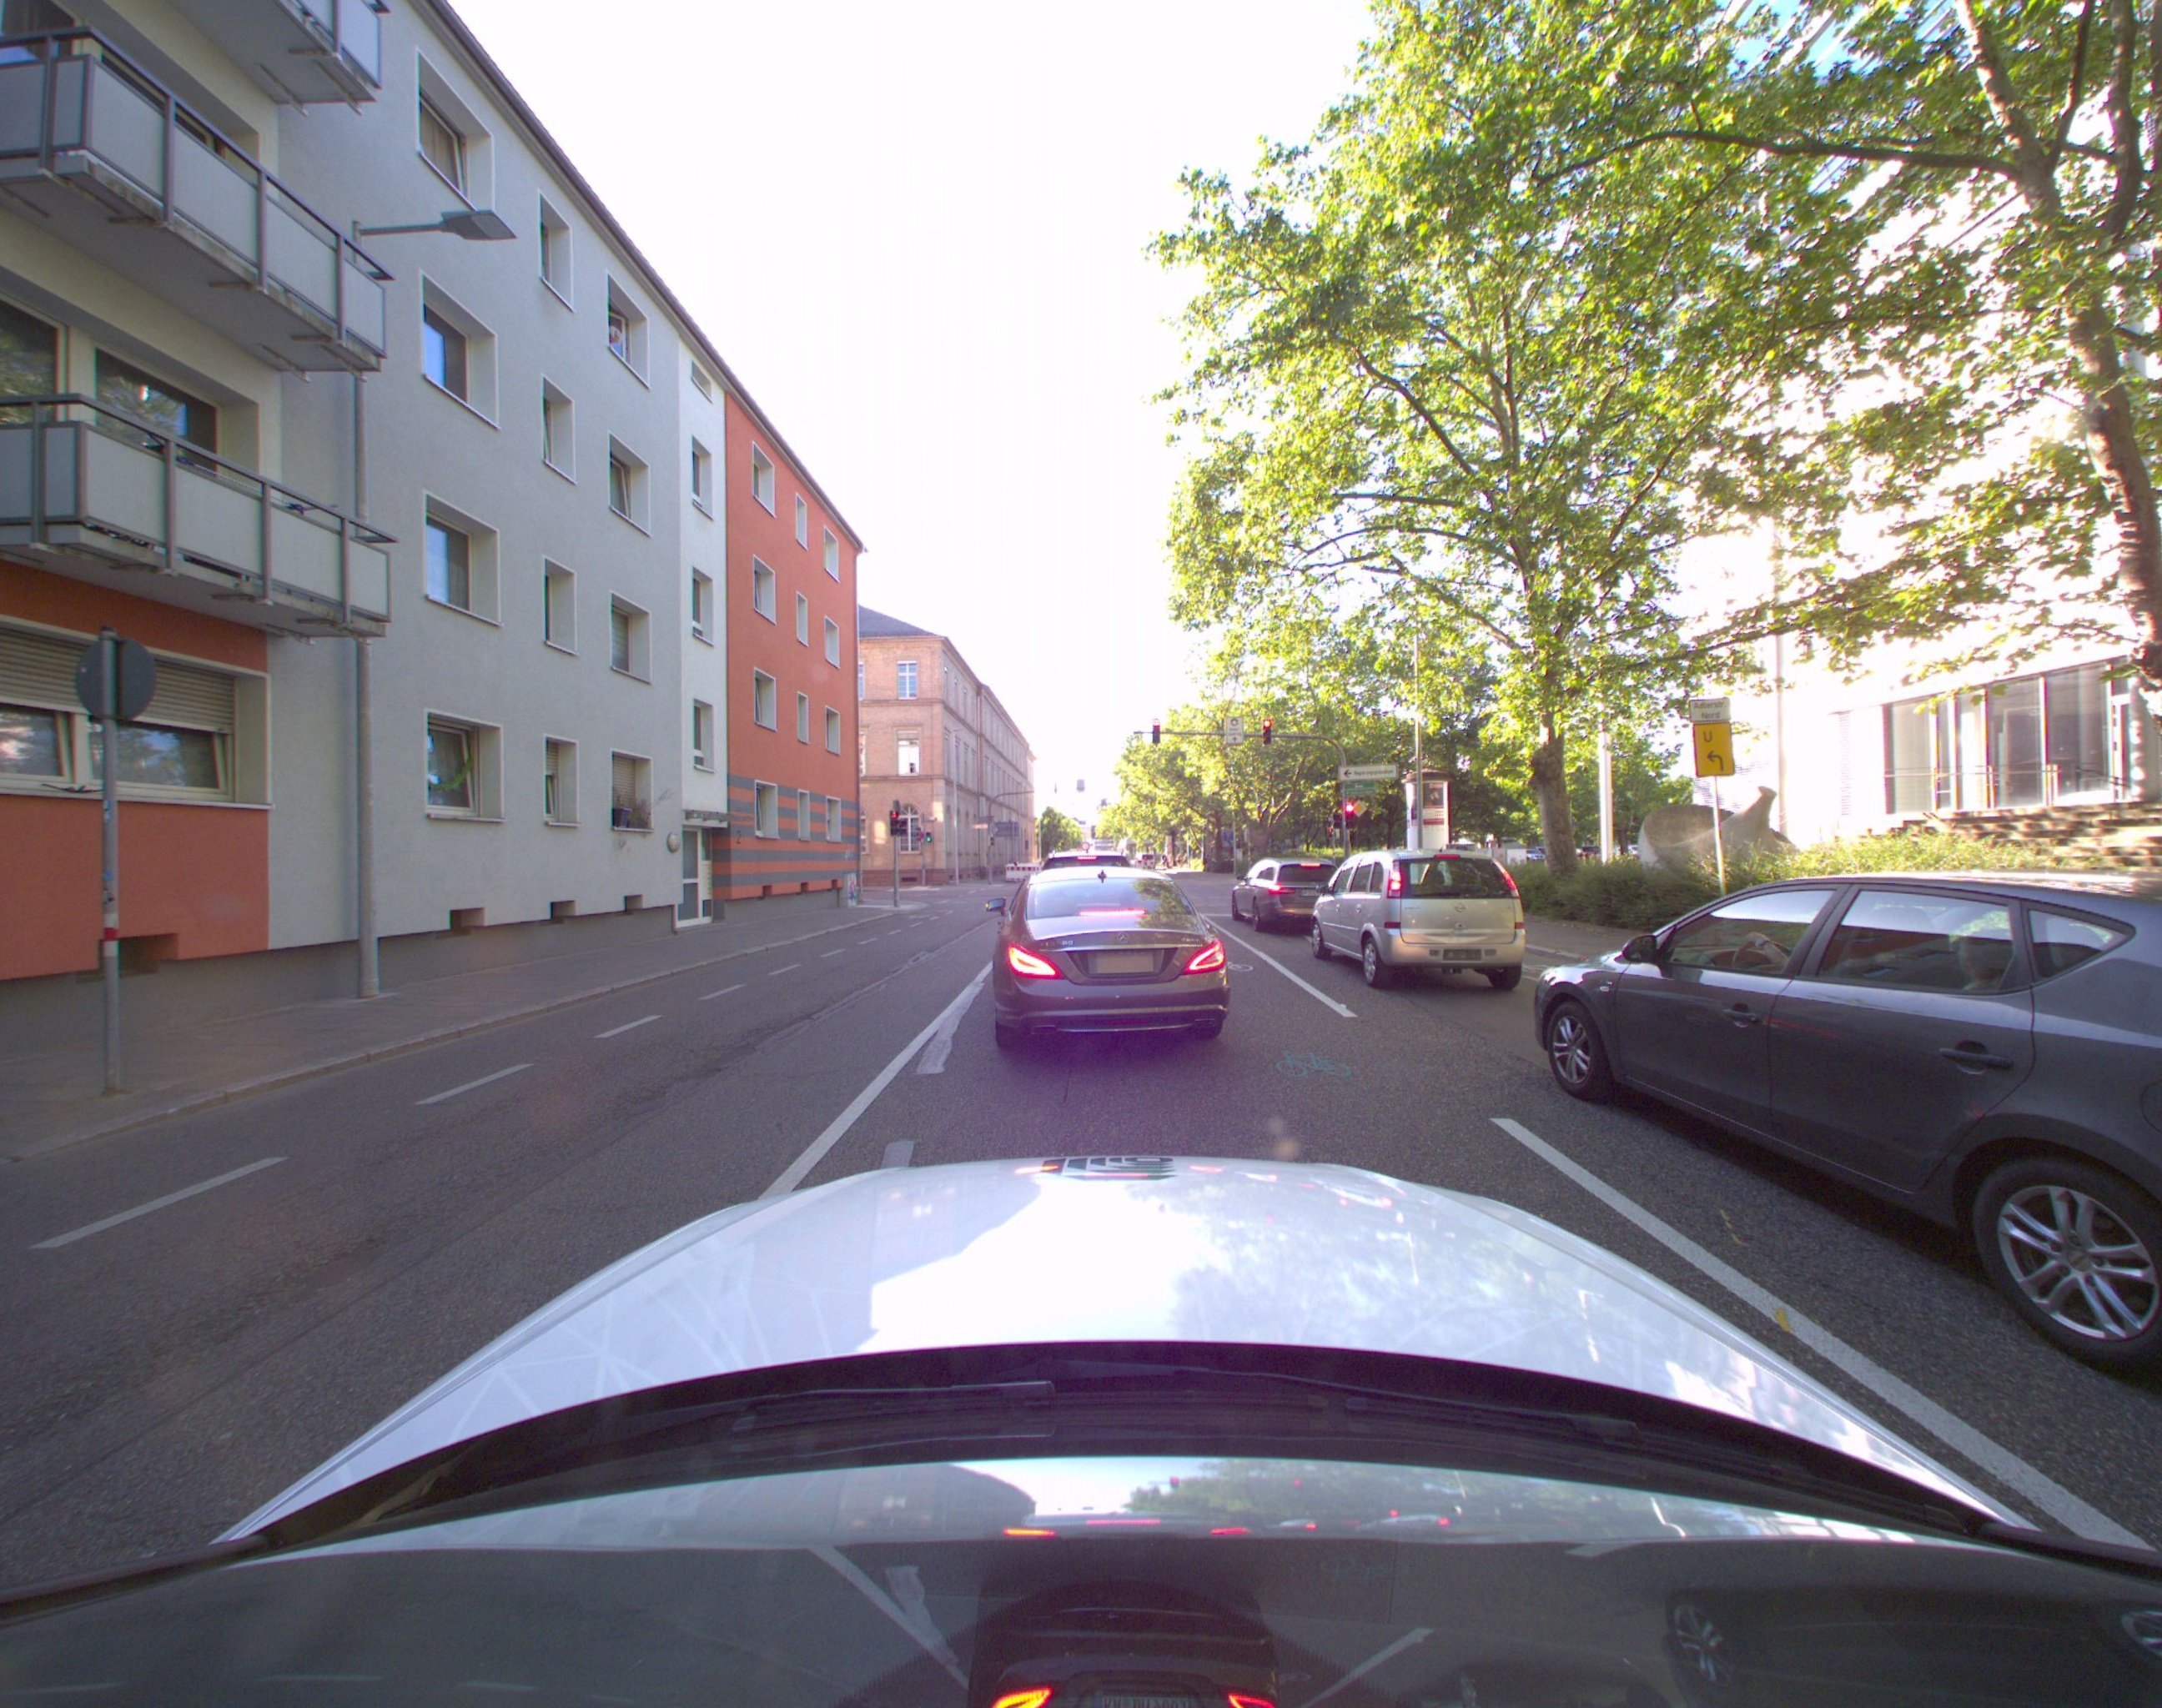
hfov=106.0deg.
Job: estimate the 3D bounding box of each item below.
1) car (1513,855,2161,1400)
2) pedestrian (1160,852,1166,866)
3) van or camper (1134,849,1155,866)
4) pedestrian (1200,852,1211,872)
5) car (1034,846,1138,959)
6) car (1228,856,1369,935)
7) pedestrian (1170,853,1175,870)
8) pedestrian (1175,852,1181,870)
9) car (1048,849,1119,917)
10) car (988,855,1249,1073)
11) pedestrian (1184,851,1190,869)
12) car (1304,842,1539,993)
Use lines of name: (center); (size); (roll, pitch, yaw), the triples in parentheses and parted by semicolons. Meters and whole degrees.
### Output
car: (3.815, 0.756, 3.757); (1.638, 1.482, 3.978); (1, 0, 2)
pedestrian: (10.301, 0.625, 102.053); (0.699, 1.837, 0.736); (-1, 0, -1)
van or camper: (7.667, 0.444, 98.453); (1.989, 1.941, 4.590); (-1, 0, -3)
pedestrian: (10.257, 0.648, 67.179); (0.827, 1.606, 0.652); (-1, 0, 1)
car: (0.069, 0.709, 13.863); (1.513, 1.647, 3.879); (-1, 0, 0)
car: (4.469, 0.774, 17.471); (1.905, 1.464, 4.671); (0, 0, 2)
pedestrian: (10.907, 0.889, 97.417); (0.537, 2.014, 0.474); (0, -1, 1)
pedestrian: (10.152, 0.711, 85.381); (0.601, 1.821, 0.652); (-1, 0, 1)
car: (0.128, 0.767, 23.384); (1.813, 1.762, 4.002); (-1, 0, 2)
car: (0.081, 0.750, 7.785); (1.801, 1.456, 4.342); (-1, 0, -5)
pedestrian: (11.088, 0.626, 85.204); (0.601, 1.821, 0.652); (-1, 0, 1)
car: (4.188, 0.682, 10.696); (1.694, 1.603, 3.863); (1, 0, 4)
